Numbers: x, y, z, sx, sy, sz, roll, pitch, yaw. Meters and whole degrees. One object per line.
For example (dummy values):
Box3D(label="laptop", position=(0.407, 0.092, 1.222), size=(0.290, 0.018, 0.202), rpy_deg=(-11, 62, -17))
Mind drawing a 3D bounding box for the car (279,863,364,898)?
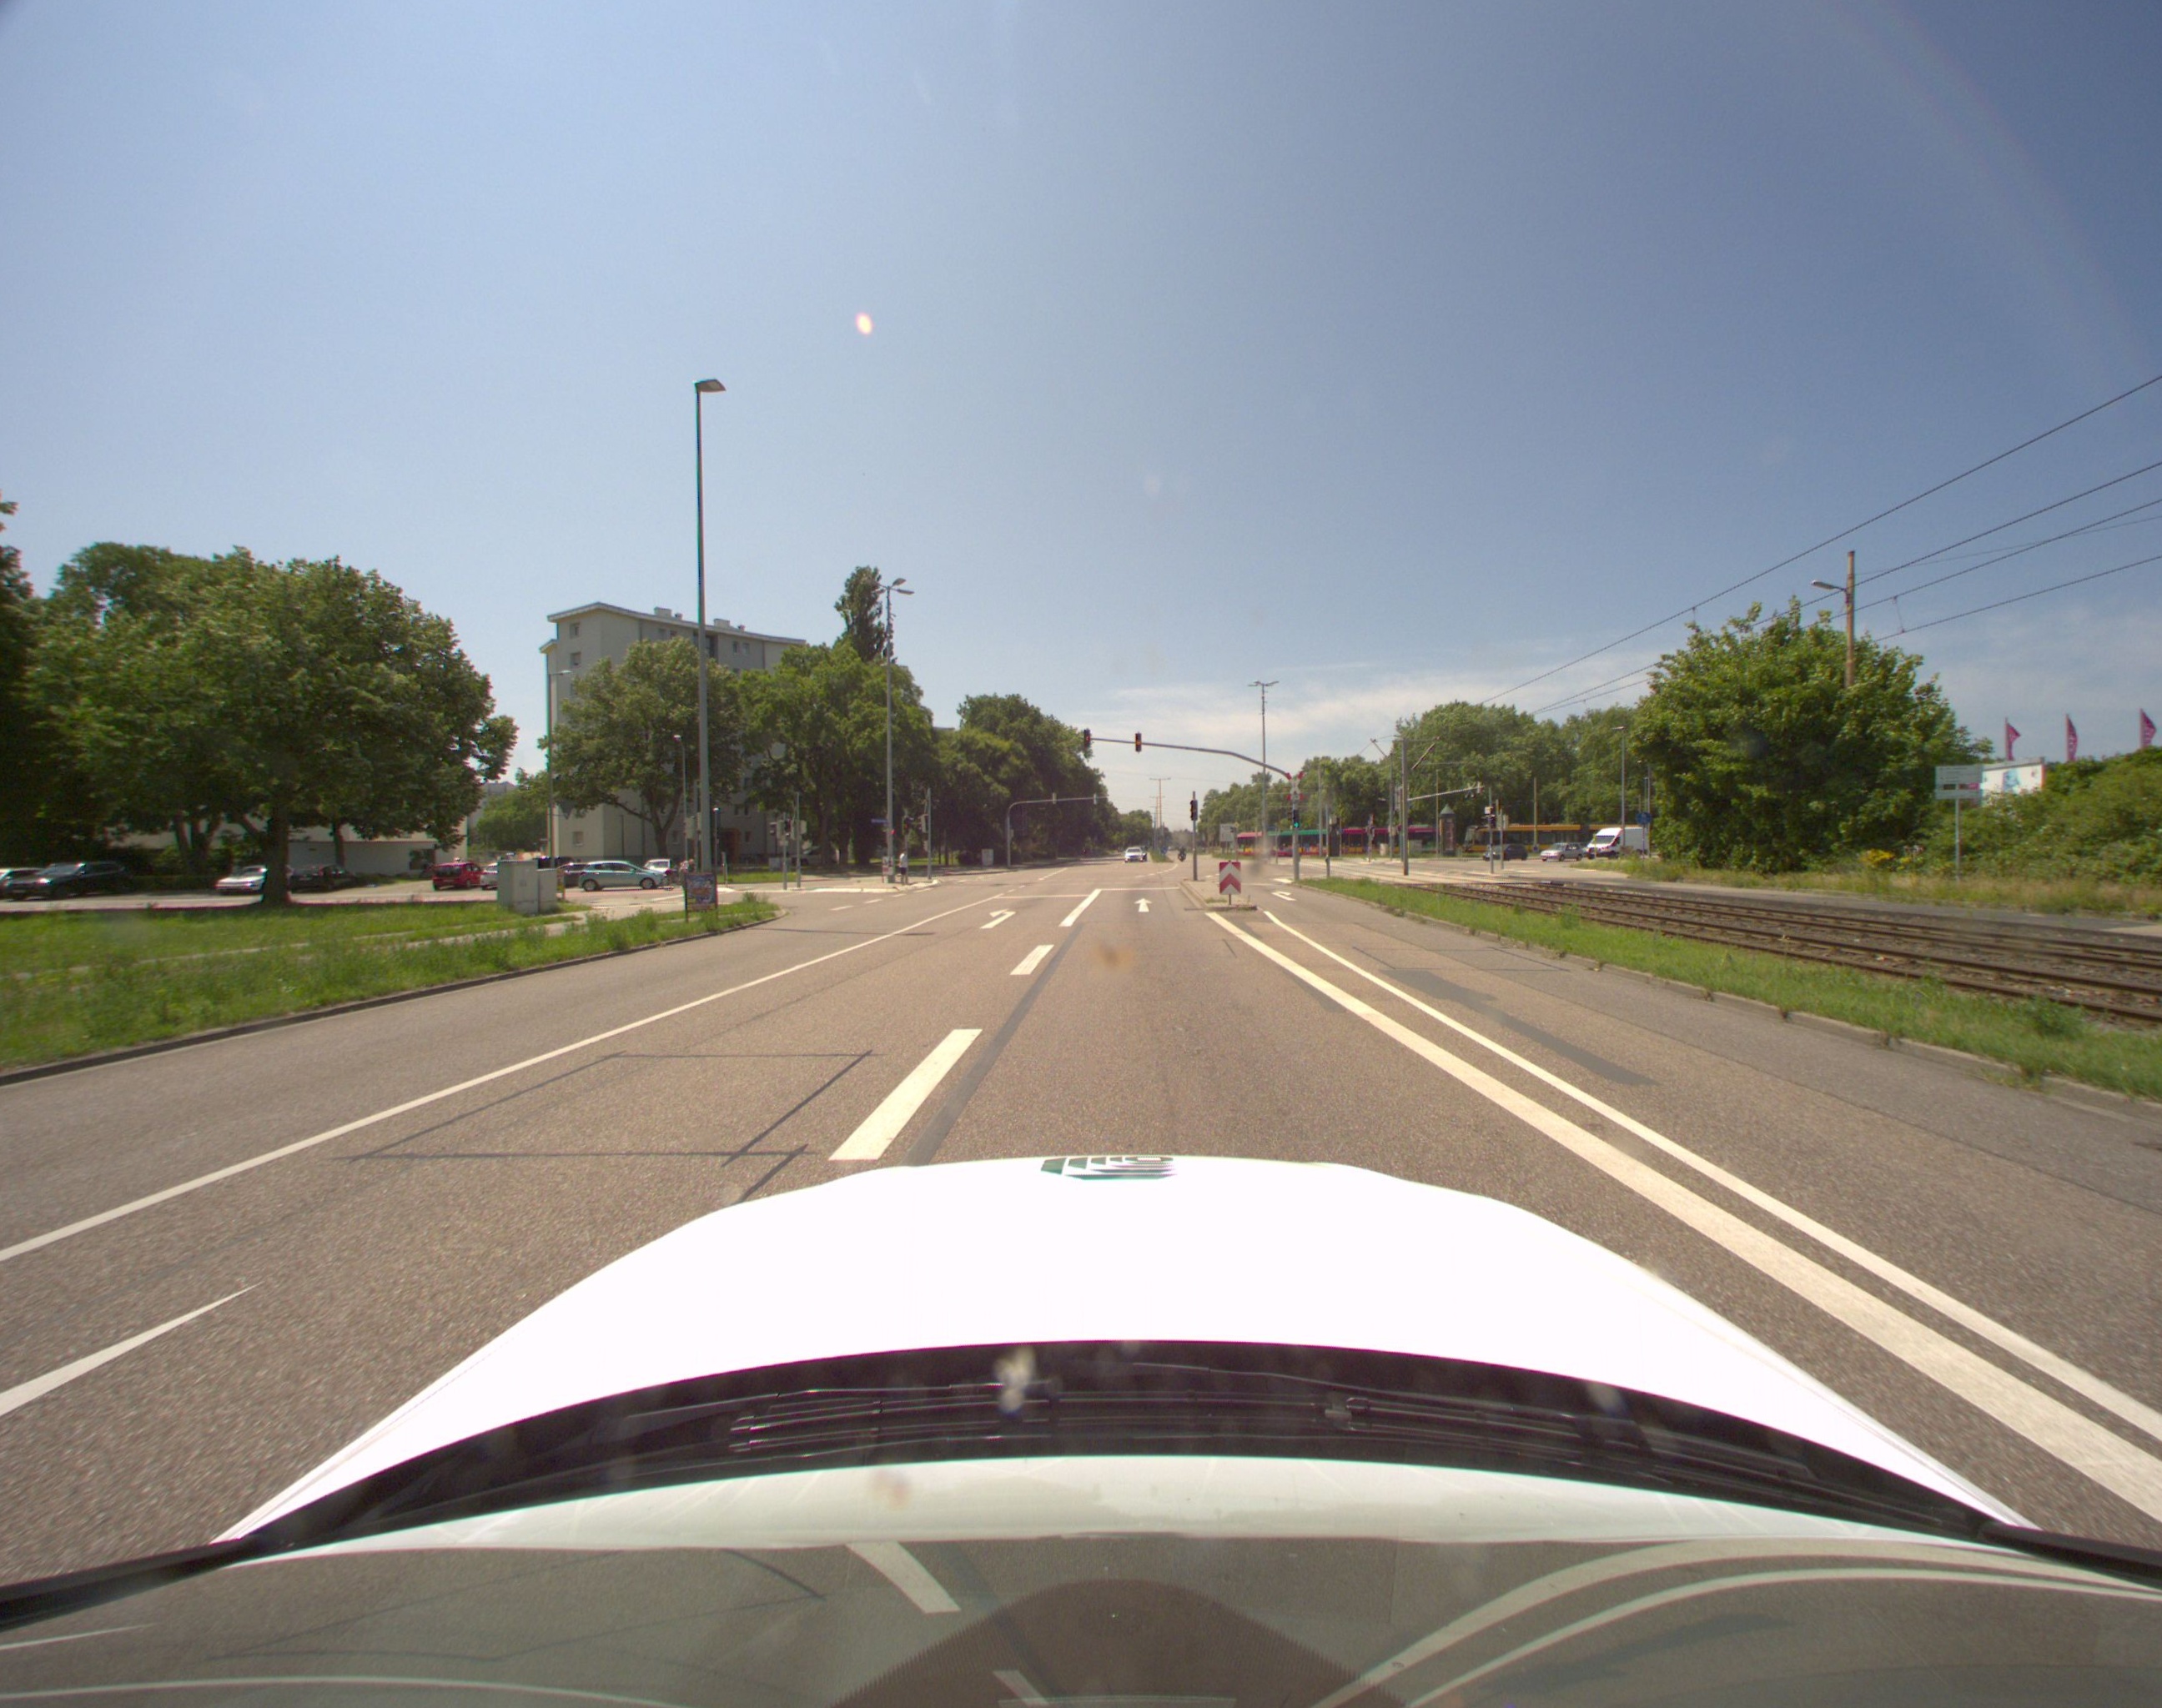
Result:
Box3D(label="car", position=(-42.212, 1.433, 45.390), size=(1.851, 1.711, 3.976), rpy_deg=(-2, 0, -17))

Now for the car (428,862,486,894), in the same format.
Box3D(label="car", position=(-36.174, 1.351, 47.327), size=(1.855, 1.668, 3.967), rpy_deg=(-1, 0, -25))

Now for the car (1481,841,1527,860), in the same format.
Box3D(label="car", position=(35.408, -0.287, 68.158), size=(3.516, 1.463, 1.626), rpy_deg=(-2, 0, -27))

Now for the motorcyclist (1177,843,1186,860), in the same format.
Box3D(label="motorcyclist", position=(9.737, -0.216, 79.197), size=(0.786, 1.643, 1.212), rpy_deg=(0, 0, 4))

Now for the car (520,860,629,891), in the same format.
Box3D(label="car", position=(-27.340, 1.126, 44.125), size=(4.622, 1.499, 1.903), rpy_deg=(-1, 0, -15))

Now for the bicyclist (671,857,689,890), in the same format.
Box3D(label="bicyclist", position=(-19.150, 0.911, 38.860), size=(0.665, 1.537, 0.627), rpy_deg=(-1, 0, -18))

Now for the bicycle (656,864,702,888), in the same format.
Box3D(label="bicycle", position=(-19.177, 1.039, 38.846), size=(1.869, 1.093, 0.642), rpy_deg=(-1, 0, -18))

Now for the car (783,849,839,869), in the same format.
Box3D(label="car", position=(-24.904, 0.413, 75.232), size=(1.769, 1.768, 4.575), rpy_deg=(-1, 0, 45))

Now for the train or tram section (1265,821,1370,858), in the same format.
Box3D(label="train or tram section", position=(28.655, -1.646, 99.745), size=(2.936, 3.812, 13.305), rpy_deg=(2, -3, -37))

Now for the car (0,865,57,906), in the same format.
Box3D(label="car", position=(-53.990, 1.563, 40.526), size=(1.851, 1.947, 3.977), rpy_deg=(0, 0, -17))

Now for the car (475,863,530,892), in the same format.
Box3D(label="car", position=(-33.652, 1.327, 47.483), size=(1.711, 1.592, 3.971), rpy_deg=(0, 0, -22))

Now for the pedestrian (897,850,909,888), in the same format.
Box3D(label="pedestrian", position=(-7.961, 0.676, 36.392), size=(0.381, 1.687, 0.486), rpy_deg=(-1, 0, 1))

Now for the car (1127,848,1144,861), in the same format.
Box3D(label="car", position=(5.927, -0.006, 88.037), size=(1.702, 1.365, 3.871), rpy_deg=(-1, 0, 5))

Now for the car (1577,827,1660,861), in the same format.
Box3D(label="car", position=(46.241, -0.904, 70.066), size=(7.300, 2.802, 2.693), rpy_deg=(-1, 0, -27))

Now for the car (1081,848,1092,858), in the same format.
Box3D(label="car", position=(1.197, -0.202, 171.900), size=(1.986, 2.013, 4.002), rpy_deg=(2, 0, 2))

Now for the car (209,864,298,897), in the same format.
Box3D(label="car", position=(-44.347, 1.384, 43.748), size=(1.692, 1.562, 3.816), rpy_deg=(-1, 0, -17))

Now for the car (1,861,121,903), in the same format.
Box3D(label="car", position=(-51.254, 1.358, 41.051), size=(1.851, 1.947, 3.977), rpy_deg=(0, 0, -17))

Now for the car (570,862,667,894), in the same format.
Box3D(label="car", position=(-22.798, 1.162, 40.307), size=(3.898, 1.468, 1.764), rpy_deg=(-1, 0, -20))

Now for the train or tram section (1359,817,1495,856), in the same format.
Box3D(label="train or tram section", position=(38.769, -1.883, 91.654), size=(13.871, 3.920, 2.939), rpy_deg=(-1, -3, 24))

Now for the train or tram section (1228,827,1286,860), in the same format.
Box3D(label="train or tram section", position=(23.793, -1.262, 110.813), size=(2.915, 3.812, 13.023), rpy_deg=(1, -2, -11))

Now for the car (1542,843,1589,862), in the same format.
Box3D(label="car", position=(39.472, -0.139, 66.383), size=(3.818, 1.463, 1.624), rpy_deg=(-1, 0, -30))

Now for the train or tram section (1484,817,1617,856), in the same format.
Box3D(label="train or tram section", position=(51.825, -1.873, 89.970), size=(13.908, 3.920, 2.915), rpy_deg=(1, -3, -8))

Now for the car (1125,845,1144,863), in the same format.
Box3D(label="car", position=(5.331, -0.015, 80.596), size=(1.776, 1.628, 3.871), rpy_deg=(-1, 0, 5))

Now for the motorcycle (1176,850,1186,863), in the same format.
Box3D(label="motorcycle", position=(9.707, 0.212, 79.145), size=(0.843, 1.255, 2.452), rpy_deg=(0, 0, 5))
